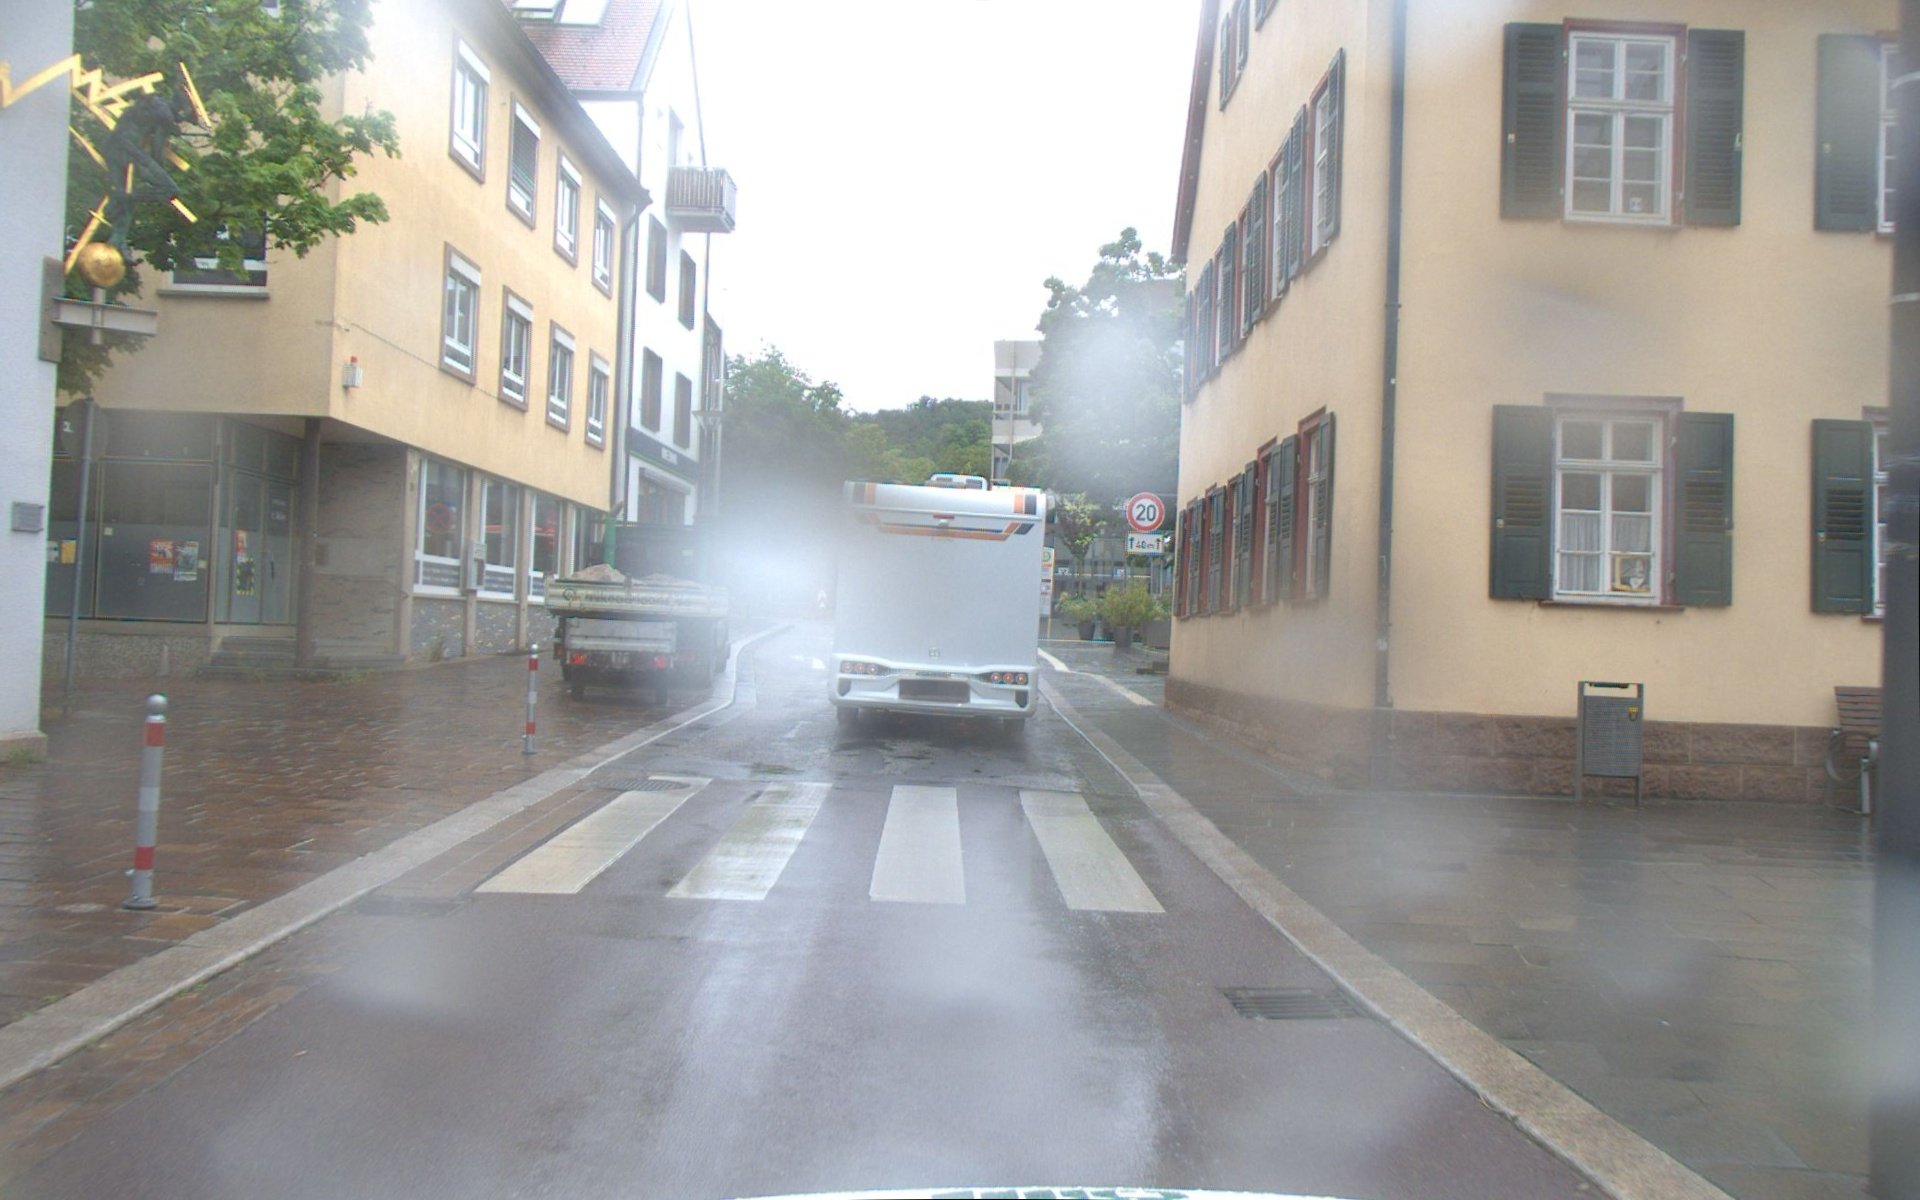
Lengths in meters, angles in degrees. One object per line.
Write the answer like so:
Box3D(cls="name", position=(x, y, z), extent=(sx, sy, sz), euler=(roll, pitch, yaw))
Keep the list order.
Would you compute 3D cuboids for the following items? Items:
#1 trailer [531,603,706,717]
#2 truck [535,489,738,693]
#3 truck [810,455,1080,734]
Box3D(cls="trailer", position=(-4.193, 0.707, 20.701), extent=(1.817, 1.144, 3.016), euler=(2, 2, -6))
Box3D(cls="truck", position=(-4.758, -0.234, 25.389), extent=(2.353, 2.639, 6.476), euler=(2, 2, -6))
Box3D(cls="truck", position=(-0.107, -0.030, 20.140), extent=(2.748, 2.846, 6.107), euler=(1, -1, 1))
